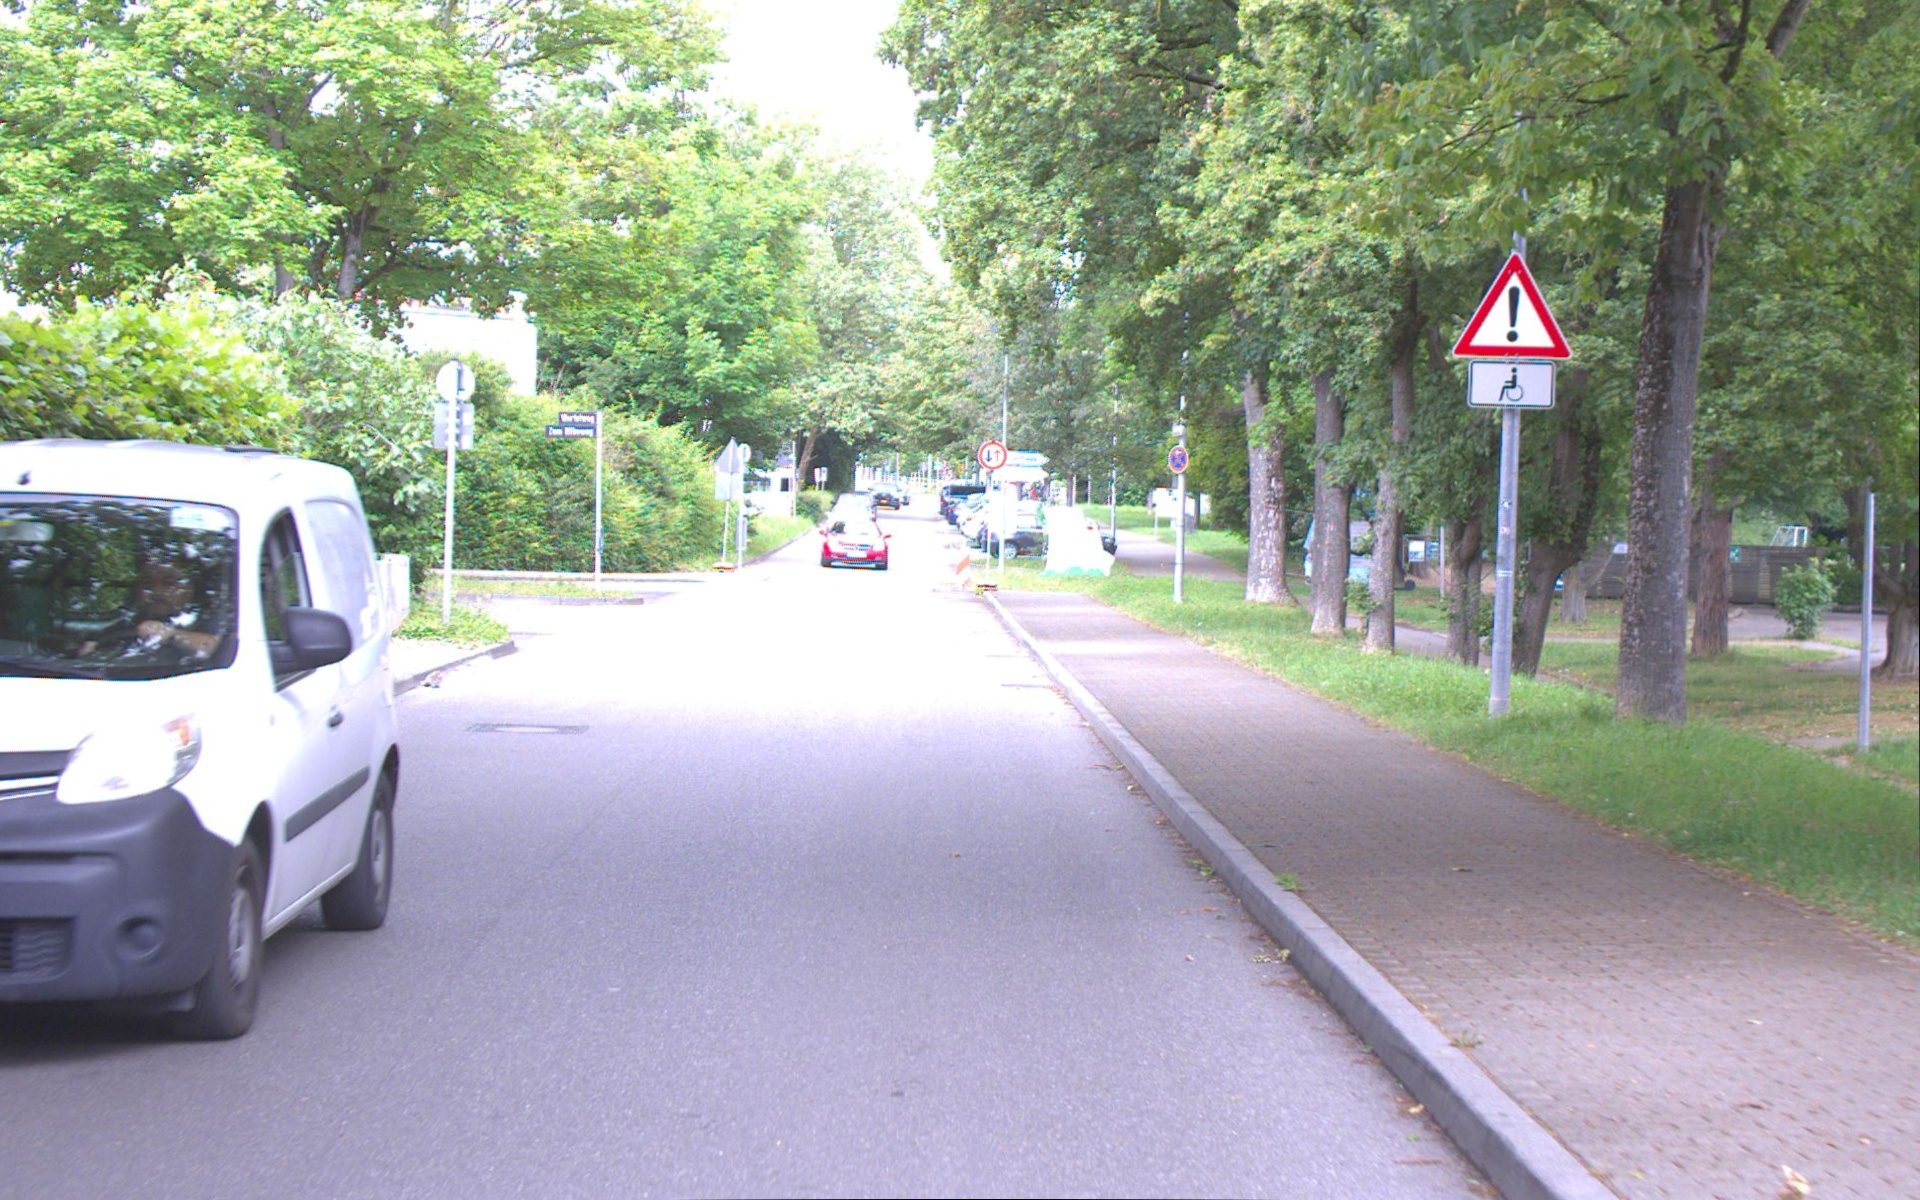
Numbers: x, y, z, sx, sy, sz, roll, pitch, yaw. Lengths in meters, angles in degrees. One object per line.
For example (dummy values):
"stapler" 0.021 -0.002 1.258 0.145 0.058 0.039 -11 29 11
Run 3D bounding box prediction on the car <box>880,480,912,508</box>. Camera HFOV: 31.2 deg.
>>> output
"car" -4.150 -6.859 222.025 1.968 1.741 4.339 2 2 -2

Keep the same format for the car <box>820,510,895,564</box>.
"car" -2.733 -1.702 92.207 1.750 1.331 4.065 2 2 1

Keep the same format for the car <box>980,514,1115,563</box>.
"car" 2.689 -1.898 106.220 4.062 1.429 2.000 1 0 -1

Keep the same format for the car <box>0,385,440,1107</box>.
"car" -2.938 0.367 11.305 1.873 1.907 4.432 1 0 -1

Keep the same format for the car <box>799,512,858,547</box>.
"car" -5.175 -2.785 135.677 1.781 1.302 4.296 2 2 4

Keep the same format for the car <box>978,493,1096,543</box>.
"car" 2.779 -2.954 124.024 4.062 1.681 1.823 -2 2 -4
